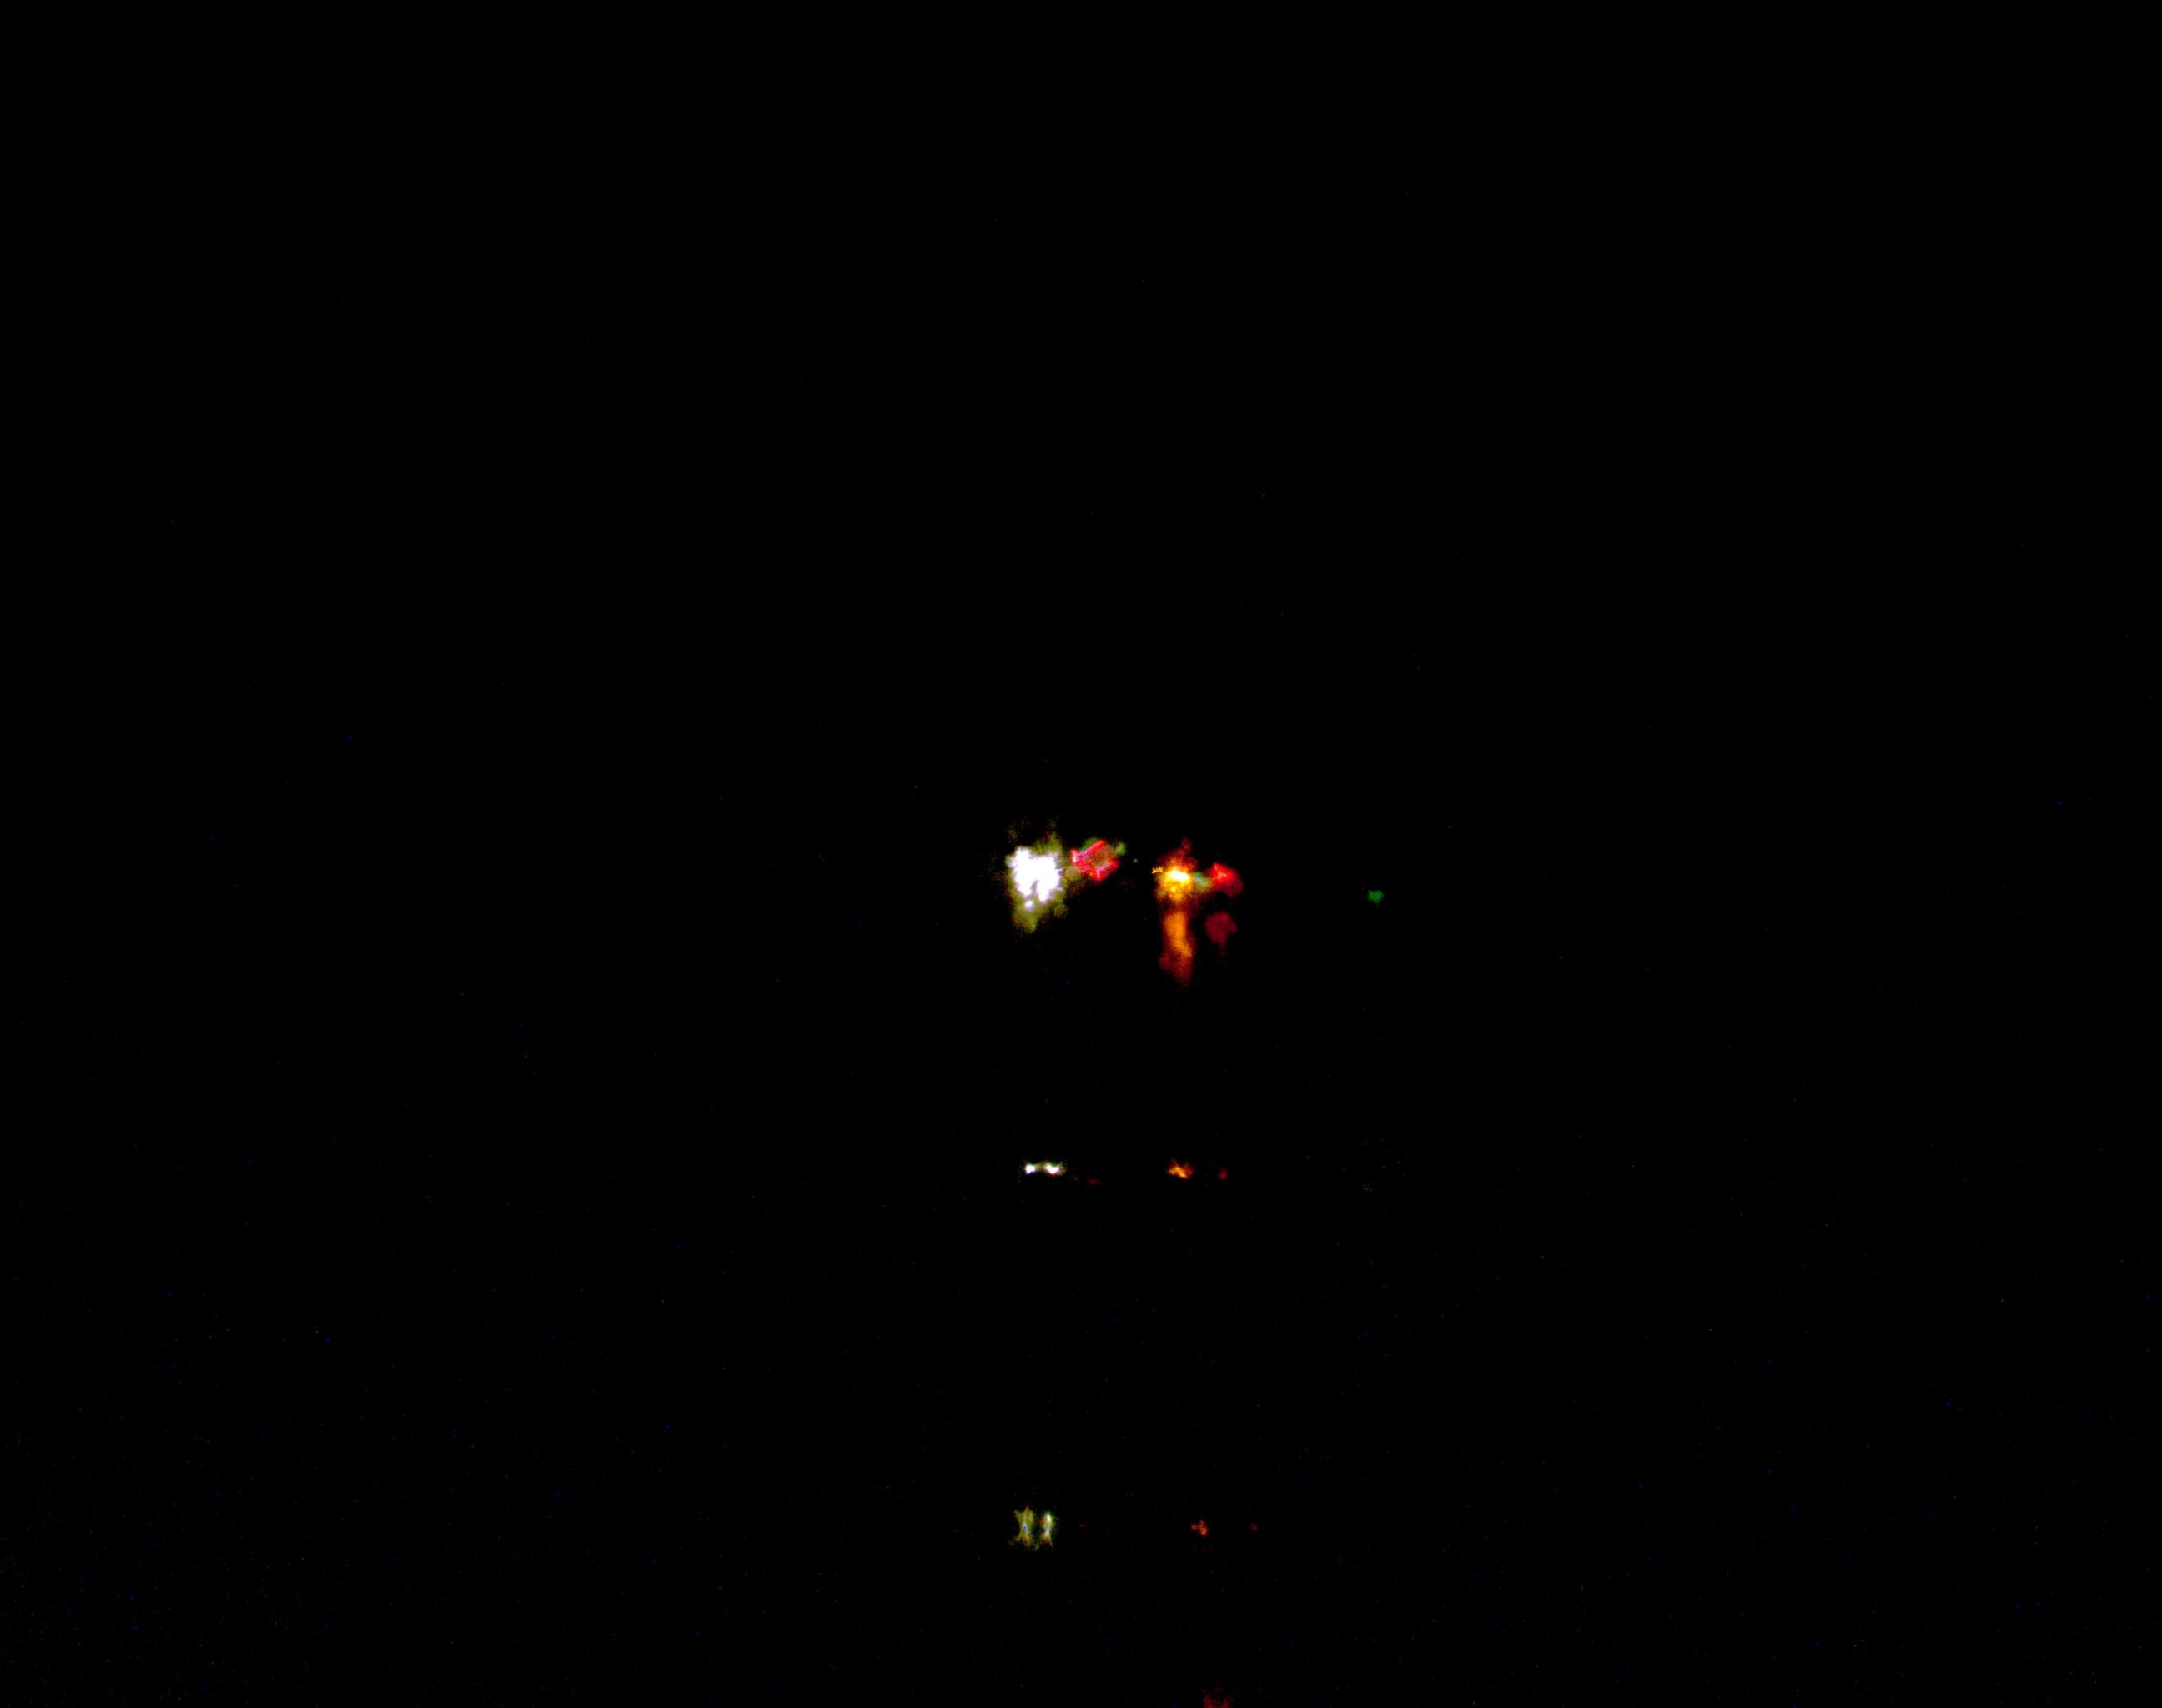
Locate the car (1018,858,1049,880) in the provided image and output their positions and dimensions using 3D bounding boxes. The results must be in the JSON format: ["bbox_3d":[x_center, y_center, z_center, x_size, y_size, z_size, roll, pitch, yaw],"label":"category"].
[{"bbox_3d":[-3.589,1.108,62.222,1.987,1.576,4.661,-1,0,0],"label":"car"}]

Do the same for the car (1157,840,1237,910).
[{"bbox_3d":[3.617,0.621,26.009,2.085,2.013,4.002,-1,0,2],"label":"car"}]

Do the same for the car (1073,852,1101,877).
[{"bbox_3d":[0.378,0.697,55.126,1.803,1.621,4.000,-1,0,0],"label":"car"}]
